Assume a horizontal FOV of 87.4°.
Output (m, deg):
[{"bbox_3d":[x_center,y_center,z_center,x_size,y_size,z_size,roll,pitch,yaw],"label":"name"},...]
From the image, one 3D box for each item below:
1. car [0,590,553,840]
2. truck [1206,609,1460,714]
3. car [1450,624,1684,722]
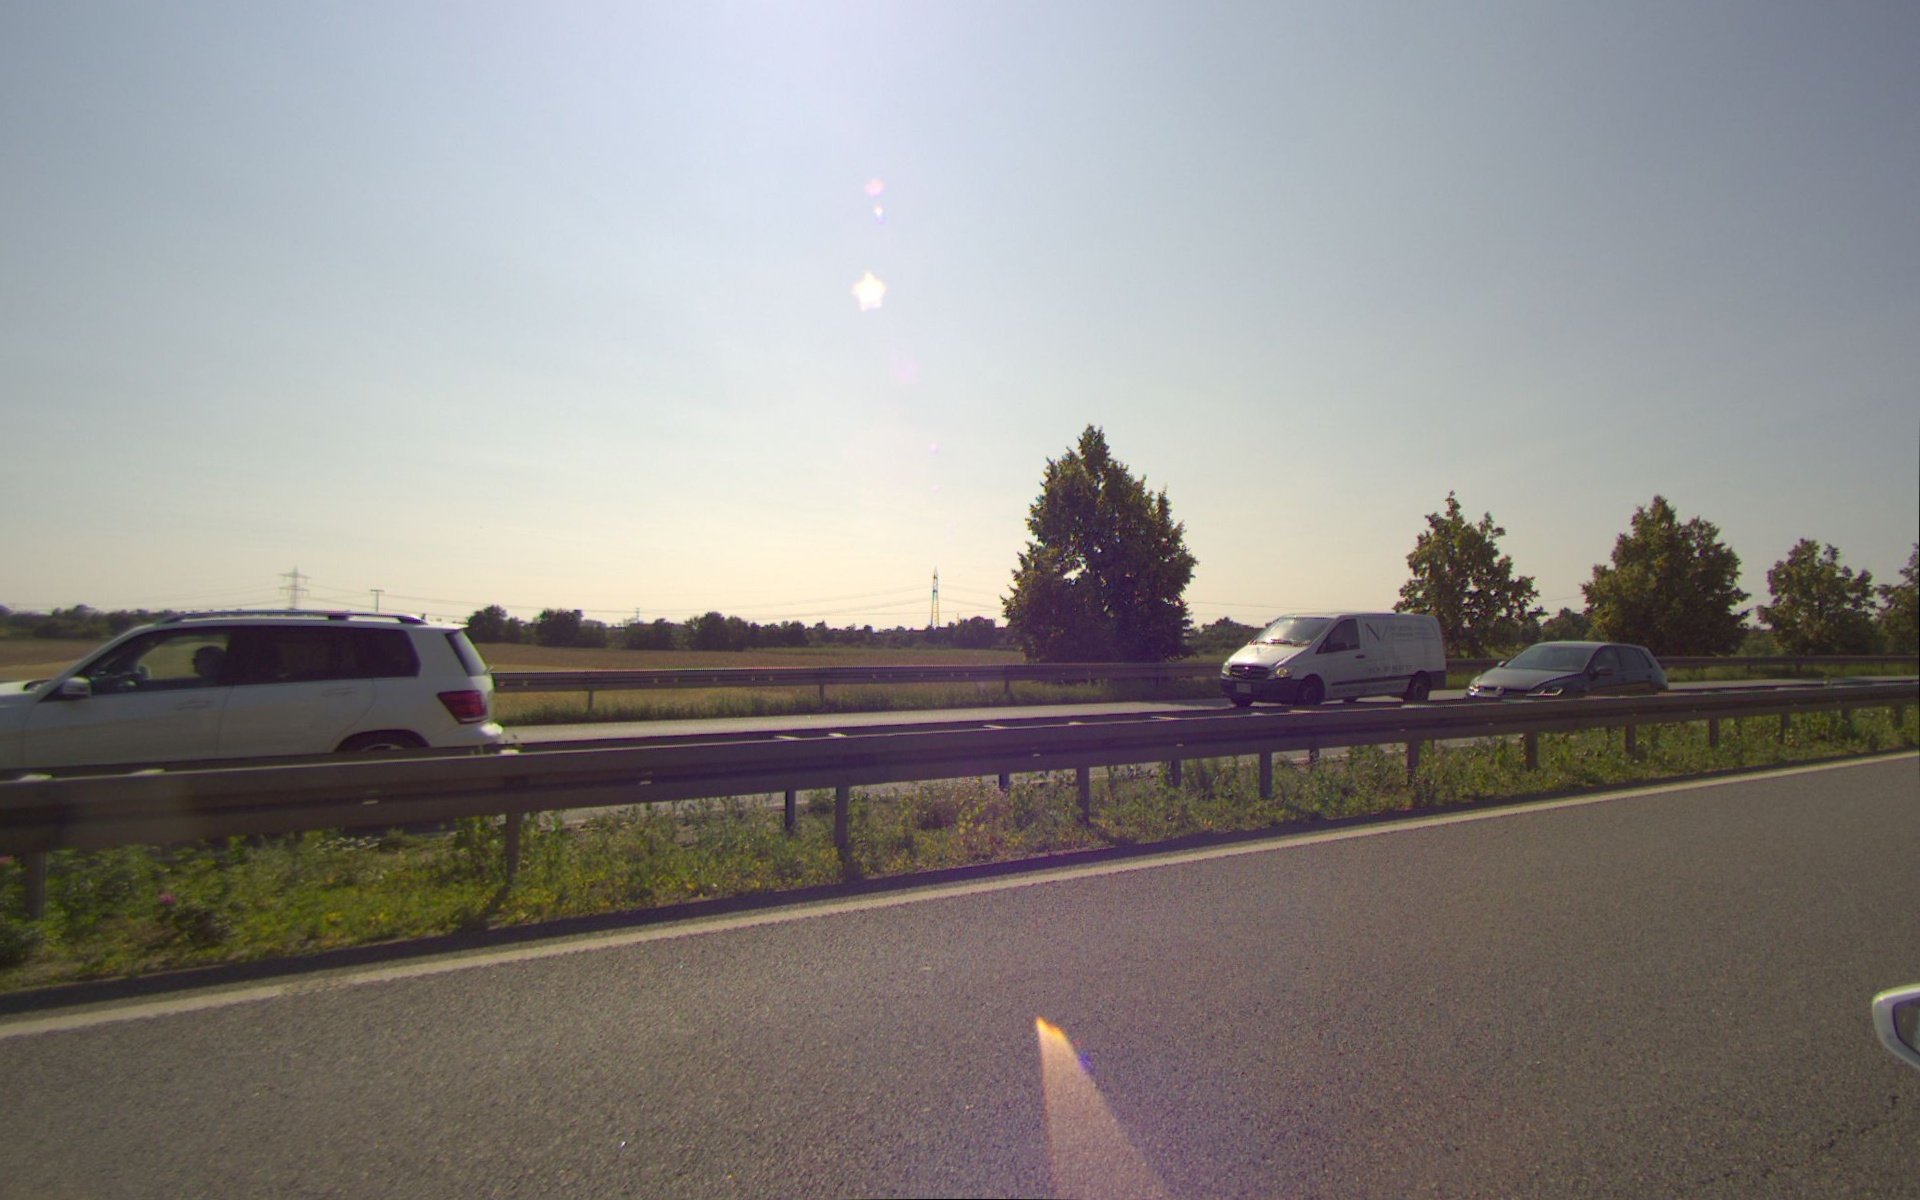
[{"bbox_3d":[-5.945,0.809,8.170,4.665,1.687,1.830,2,0,-30],"label":"car"},{"bbox_3d":[7.547,1.141,20.154,5.230,1.865,1.913,1,0,-30],"label":"truck"},{"bbox_3d":[10.748,1.205,17.750,3.990,1.466,1.830,1,1,-30],"label":"car"}]
